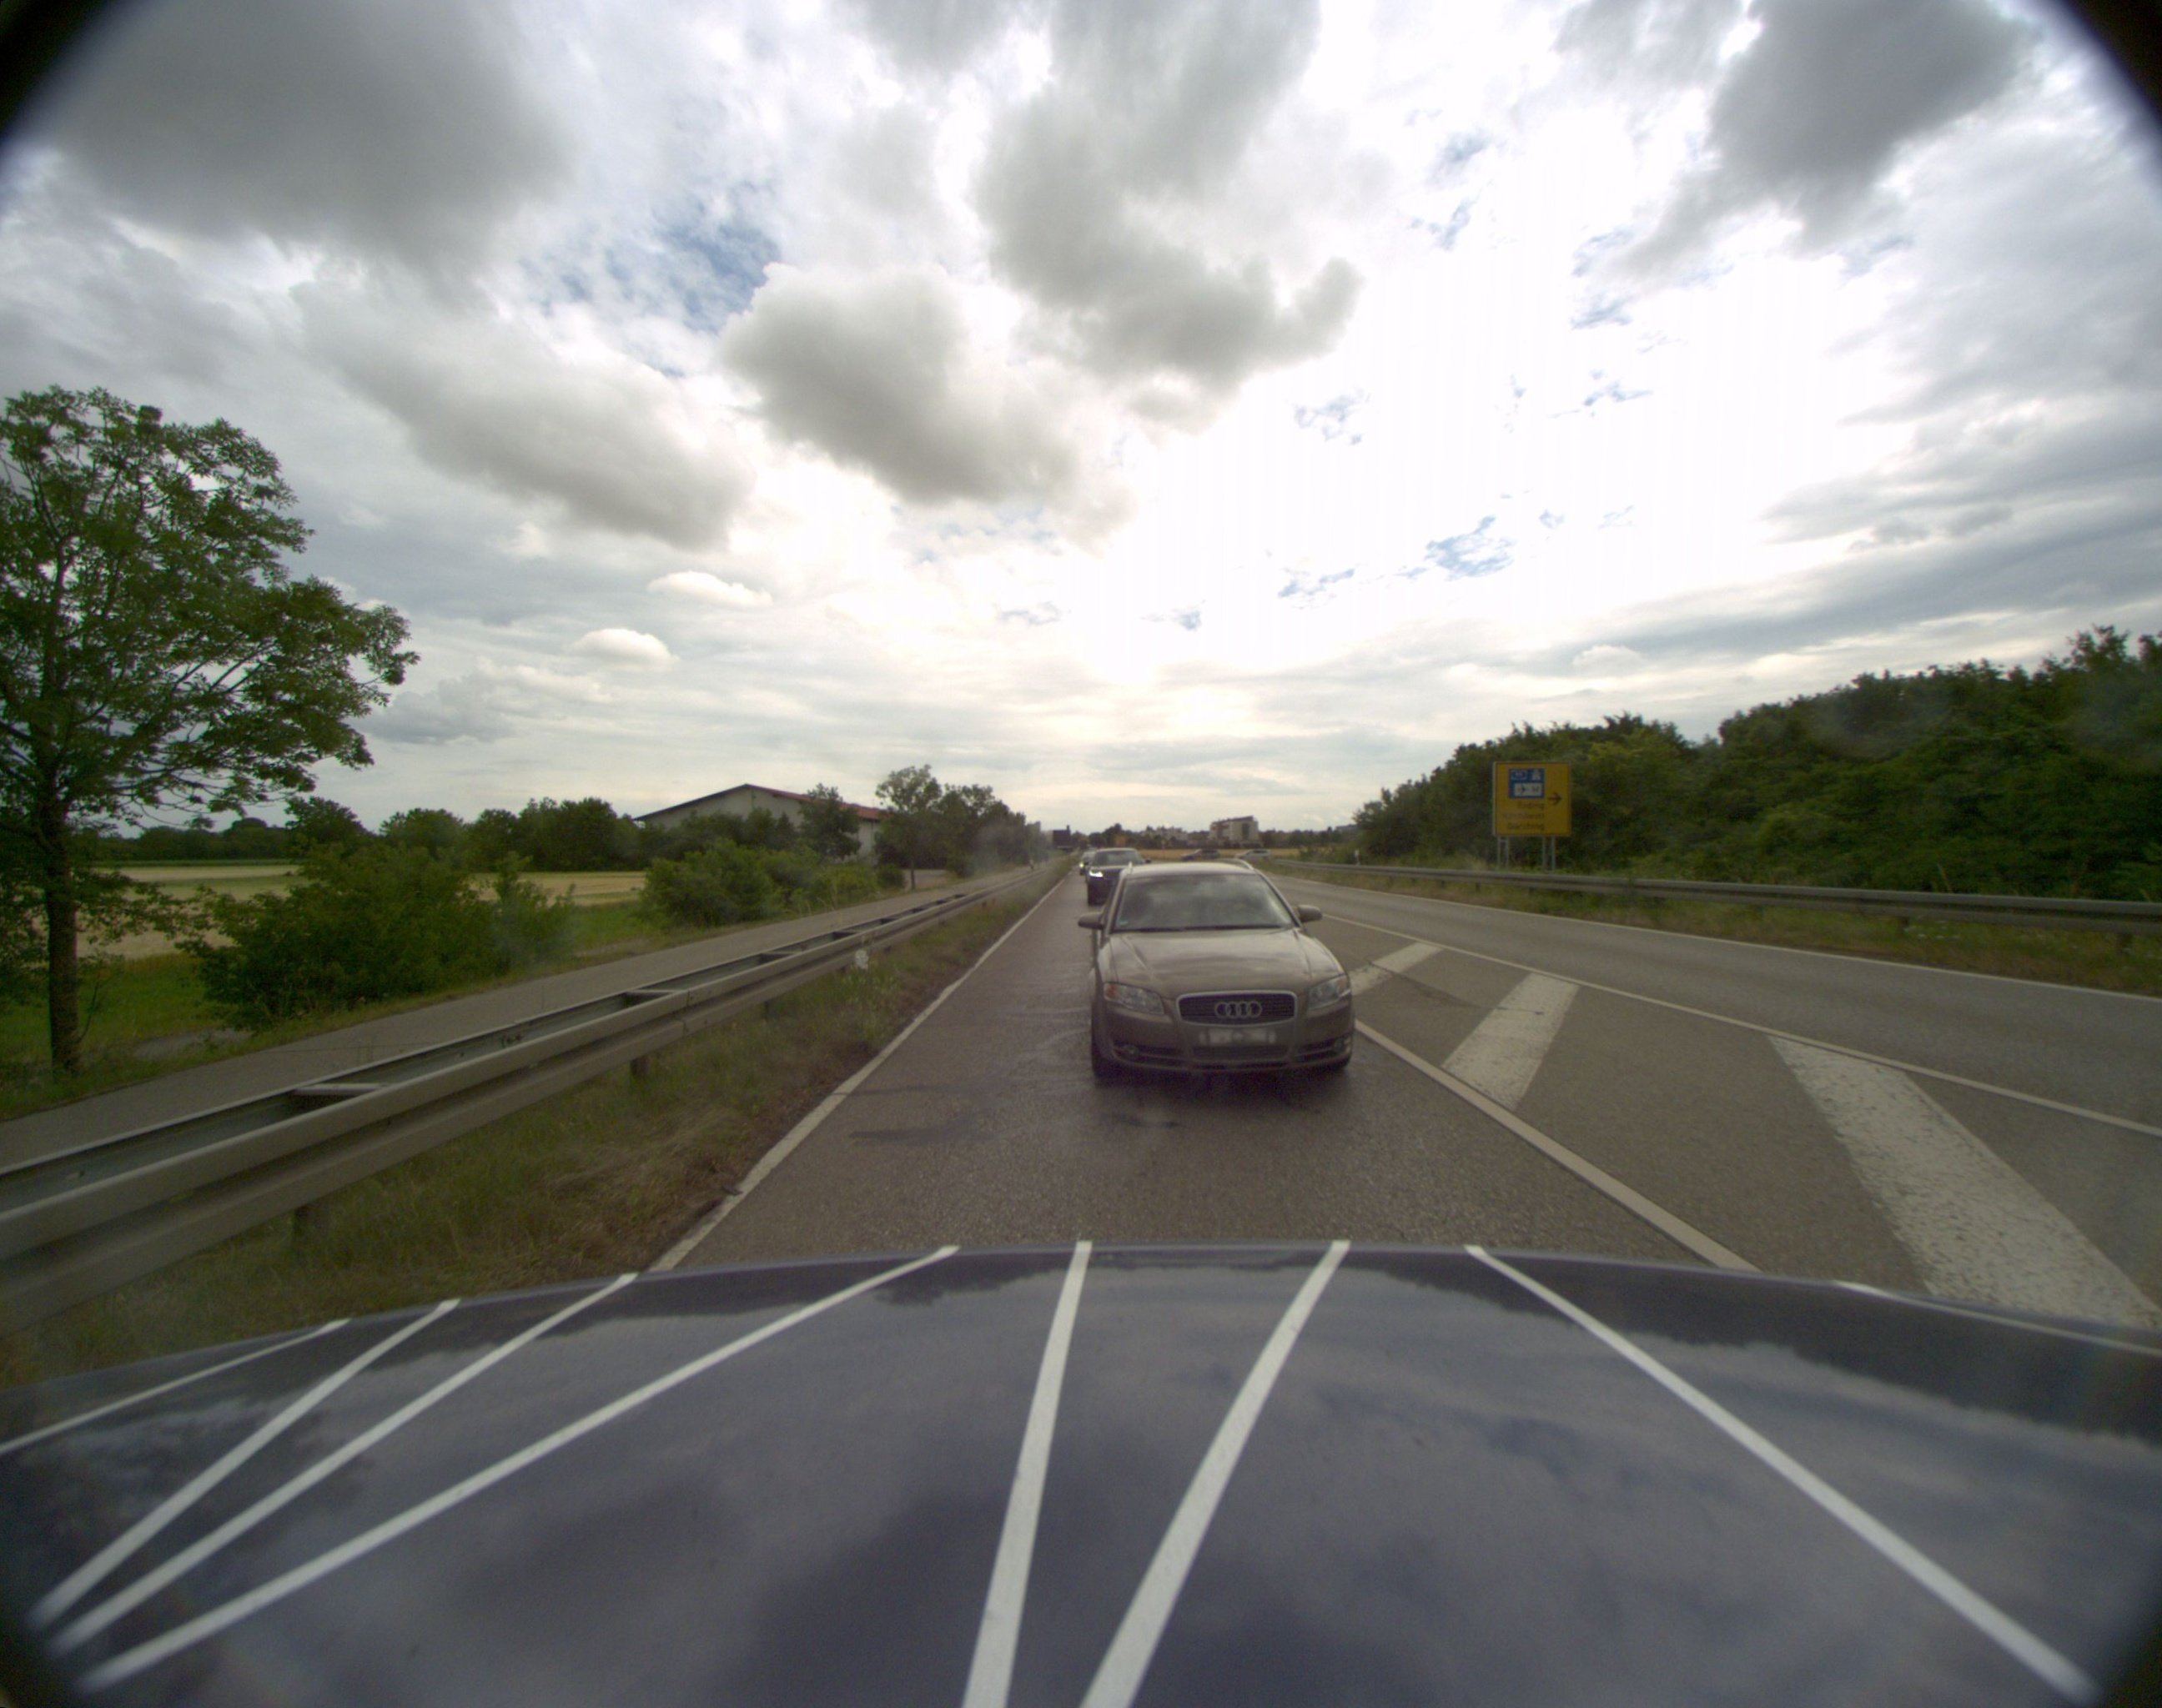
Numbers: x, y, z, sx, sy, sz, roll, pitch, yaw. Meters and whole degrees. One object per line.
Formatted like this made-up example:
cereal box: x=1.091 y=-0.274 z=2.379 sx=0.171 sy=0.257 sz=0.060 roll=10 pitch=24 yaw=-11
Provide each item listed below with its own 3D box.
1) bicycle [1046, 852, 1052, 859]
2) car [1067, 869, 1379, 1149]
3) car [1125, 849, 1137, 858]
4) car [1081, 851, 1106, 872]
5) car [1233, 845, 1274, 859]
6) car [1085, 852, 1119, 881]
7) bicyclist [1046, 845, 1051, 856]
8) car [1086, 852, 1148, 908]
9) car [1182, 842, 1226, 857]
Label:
bicycle: x=-4.627 y=0.168 z=109.577 sx=0.640 sy=0.972 sz=2.072 roll=-1 pitch=1 yaw=1
car: x=0.823 y=0.916 z=6.373 sx=1.730 sy=1.436 sz=4.204 roll=-1 pitch=1 yaw=1
car: x=8.548 y=-0.085 z=130.376 sx=1.804 sy=1.442 sz=4.445 roll=-1 pitch=1 yaw=0
car: x=0.939 y=0.561 z=56.916 sx=1.730 sy=1.436 sz=4.204 roll=-2 pitch=1 yaw=1
car: x=20.475 y=-0.237 z=90.499 sx=4.672 sy=1.490 sz=2.001 roll=-1 pitch=1 yaw=10
car: x=1.110 y=0.645 z=41.813 sx=1.730 sy=1.478 sz=4.204 roll=-2 pitch=1 yaw=1
bicyclist: x=-4.638 y=-0.467 z=109.545 sx=0.640 sy=1.573 sz=0.969 roll=-1 pitch=1 yaw=1
car: x=1.062 y=0.732 z=23.942 sx=1.730 sy=1.534 sz=4.204 roll=-2 pitch=1 yaw=1
car: x=14.609 y=-0.516 z=90.619 sx=4.815 sy=1.680 sz=1.999 roll=-1 pitch=1 yaw=-3
